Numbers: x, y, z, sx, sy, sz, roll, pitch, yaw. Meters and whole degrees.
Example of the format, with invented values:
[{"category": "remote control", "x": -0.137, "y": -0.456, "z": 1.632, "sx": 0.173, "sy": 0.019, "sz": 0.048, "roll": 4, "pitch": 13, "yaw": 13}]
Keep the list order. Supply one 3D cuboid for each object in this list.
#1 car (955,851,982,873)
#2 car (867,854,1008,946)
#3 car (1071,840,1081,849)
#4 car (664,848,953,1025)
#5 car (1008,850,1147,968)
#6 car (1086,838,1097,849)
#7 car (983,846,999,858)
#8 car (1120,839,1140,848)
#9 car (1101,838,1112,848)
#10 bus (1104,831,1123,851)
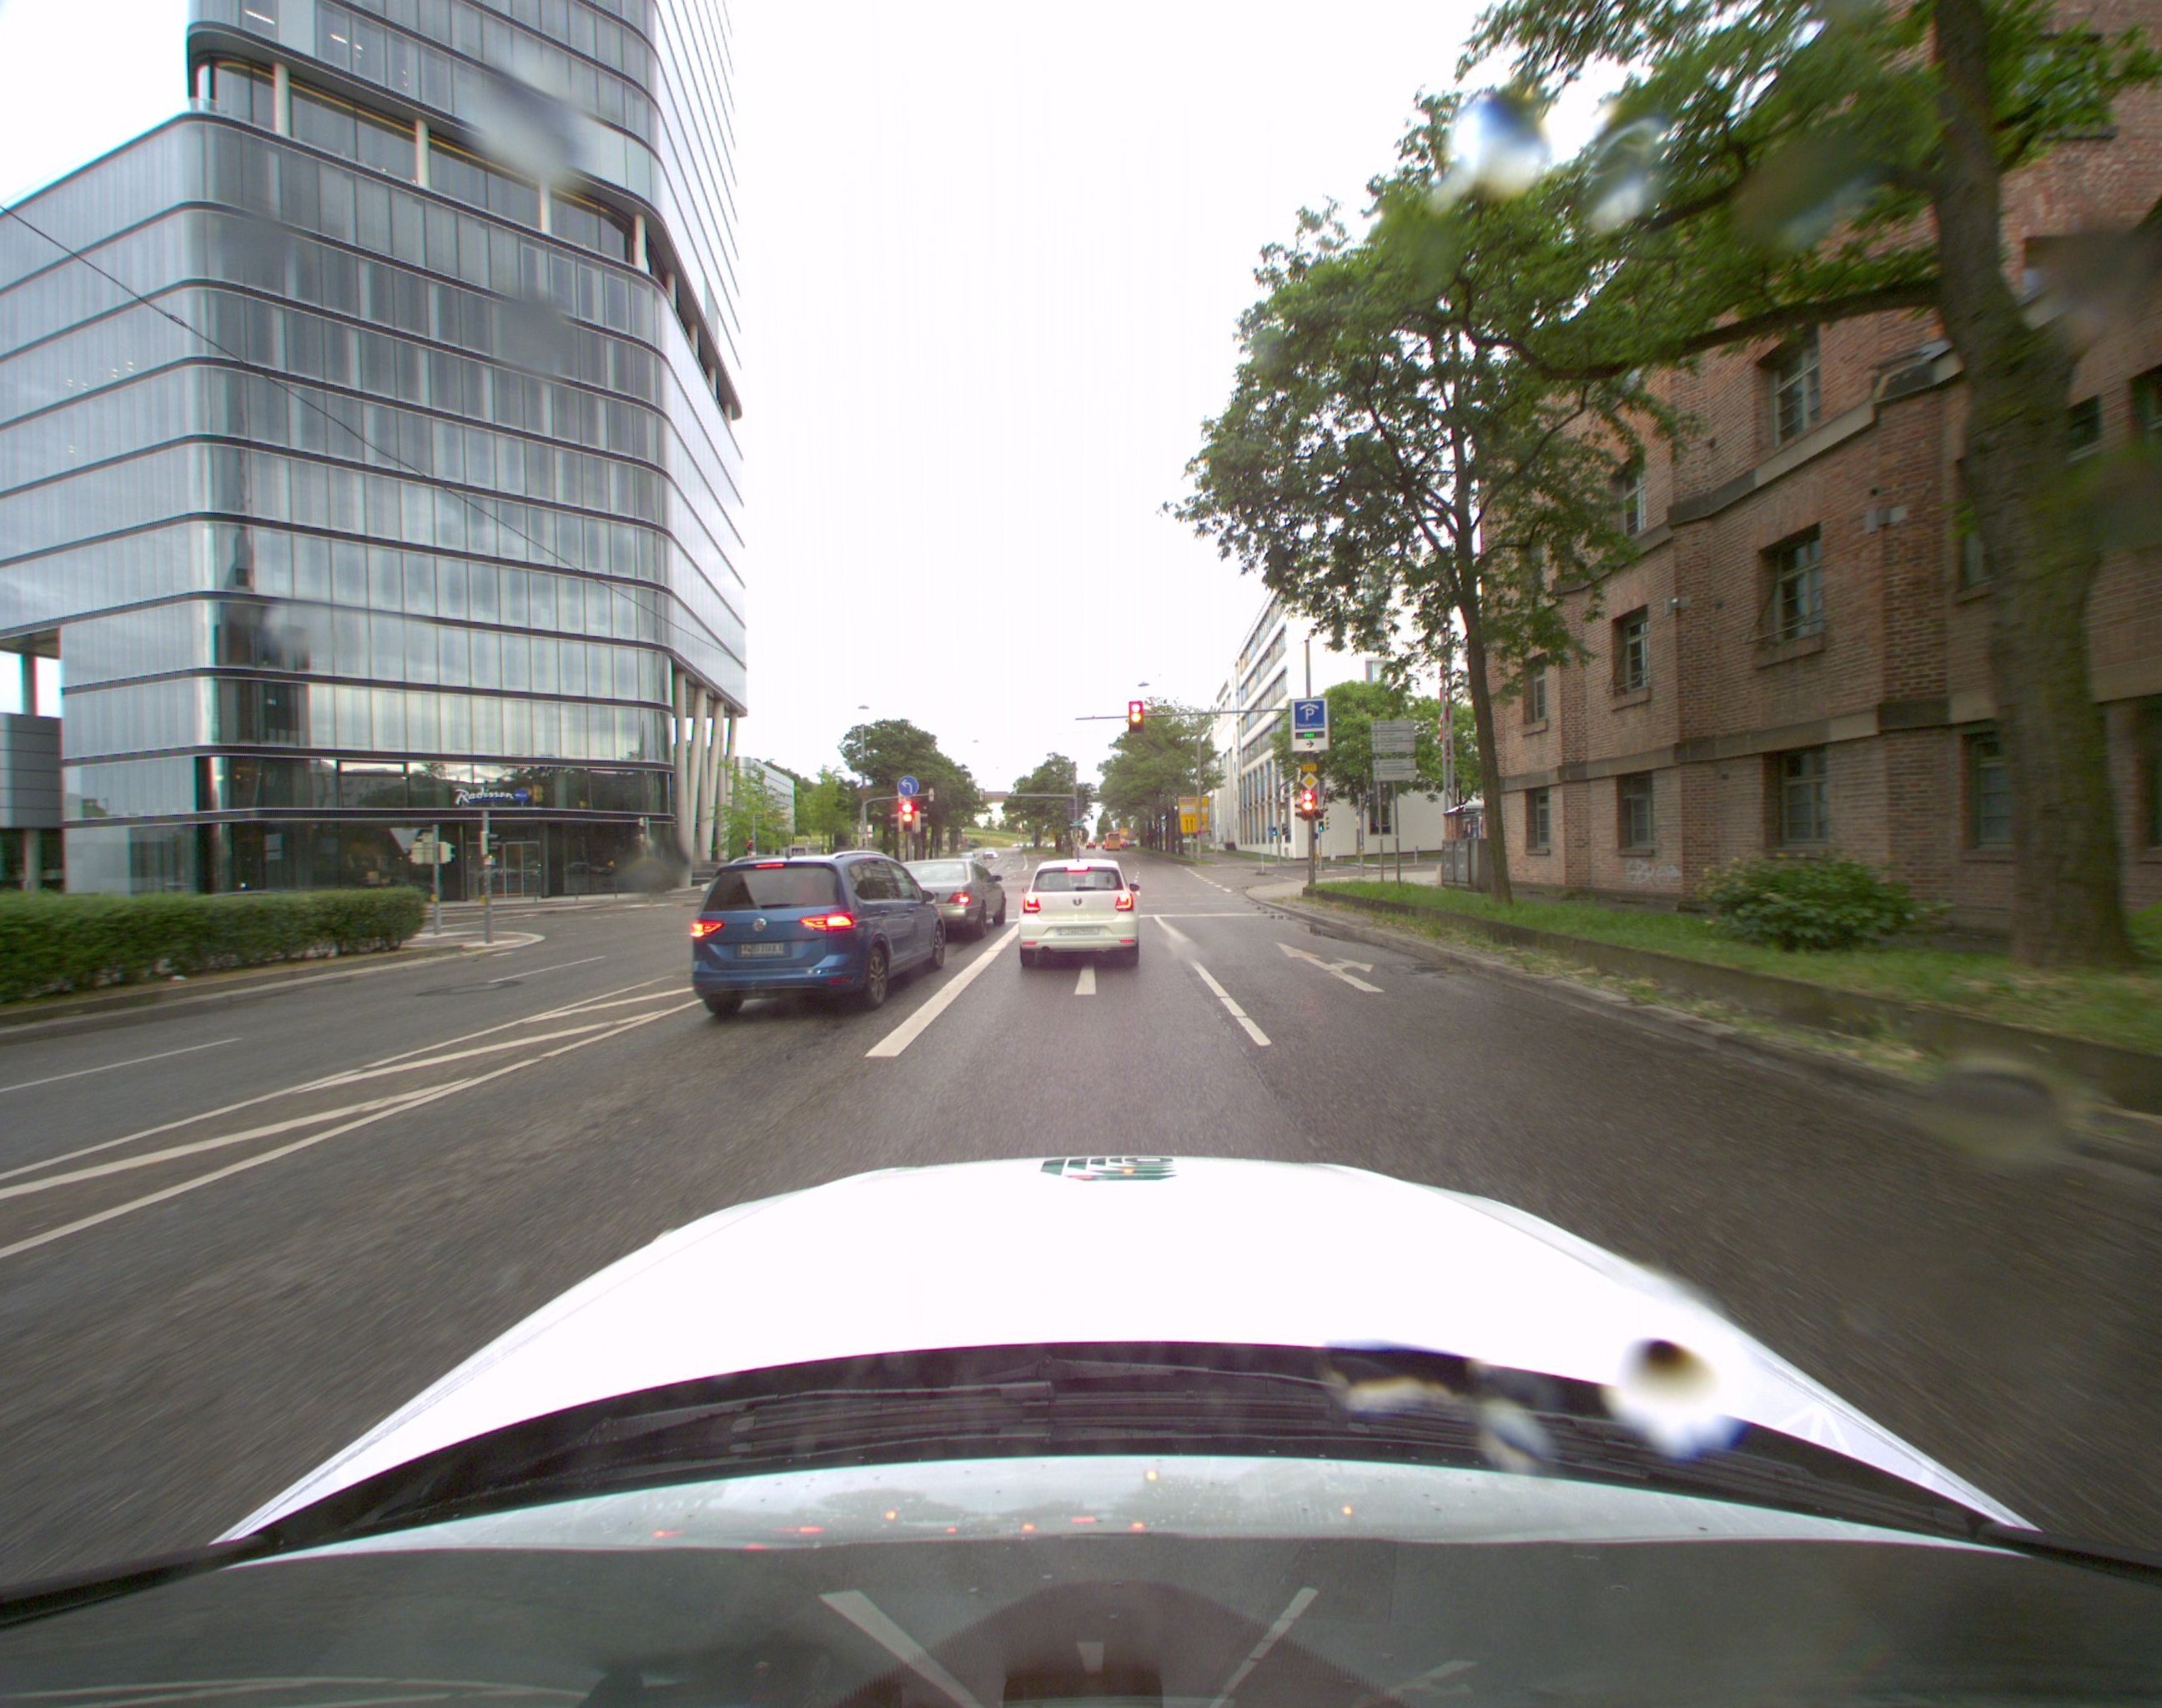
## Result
[{"category": "car", "x": -8.893, "y": 0.606, "z": 64.629, "sx": 1.746, "sy": 1.520, "sz": 3.813, "roll": -3, "pitch": 1, "yaw": -3}, {"category": "car", "x": -2.673, "y": 0.797, "z": 16.127, "sx": 1.839, "sy": 1.510, "sz": 4.051, "roll": -2, "pitch": 0, "yaw": 2}, {"category": "car", "x": -1.019, "y": -1.827, "z": 158.633, "sx": 1.789, "sy": 1.741, "sz": 3.998, "roll": -3, "pitch": 0, "yaw": -1}, {"category": "car", "x": -2.882, "y": 0.767, "z": 9.711, "sx": 1.765, "sy": 1.596, "sz": 4.201, "roll": -2, "pitch": 0, "yaw": 3}, {"category": "car", "x": -0.007, "y": 0.710, "z": 12.574, "sx": 1.788, "sy": 1.502, "sz": 4.001, "roll": -1, "pitch": 0, "yaw": 1}, {"category": "car", "x": 2.013, "y": -2.069, "z": 157.095, "sx": 1.987, "sy": 2.013, "sz": 3.999, "roll": -2, "pitch": 0, "yaw": 0}, {"category": "car", "x": -12.266, "y": -0.260, "z": 111.099, "sx": 1.810, "sy": 1.411, "sz": 4.651, "roll": -3, "pitch": 1, "yaw": -3}, {"category": "car", "x": 9.450, "y": -2.049, "z": 156.702, "sx": 1.679, "sy": 1.515, "sz": 3.850, "roll": -2, "pitch": 0, "yaw": 45}, {"category": "car", "x": 4.959, "y": -2.116, "z": 157.862, "sx": 1.987, "sy": 2.013, "sz": 3.999, "roll": -2, "pitch": 0, "yaw": 0}, {"category": "bus", "x": 5.726, "y": -2.351, "z": 144.380, "sx": 2.819, "sy": 3.266, "sz": 9.999, "roll": -1, "pitch": 1, "yaw": 0}]
